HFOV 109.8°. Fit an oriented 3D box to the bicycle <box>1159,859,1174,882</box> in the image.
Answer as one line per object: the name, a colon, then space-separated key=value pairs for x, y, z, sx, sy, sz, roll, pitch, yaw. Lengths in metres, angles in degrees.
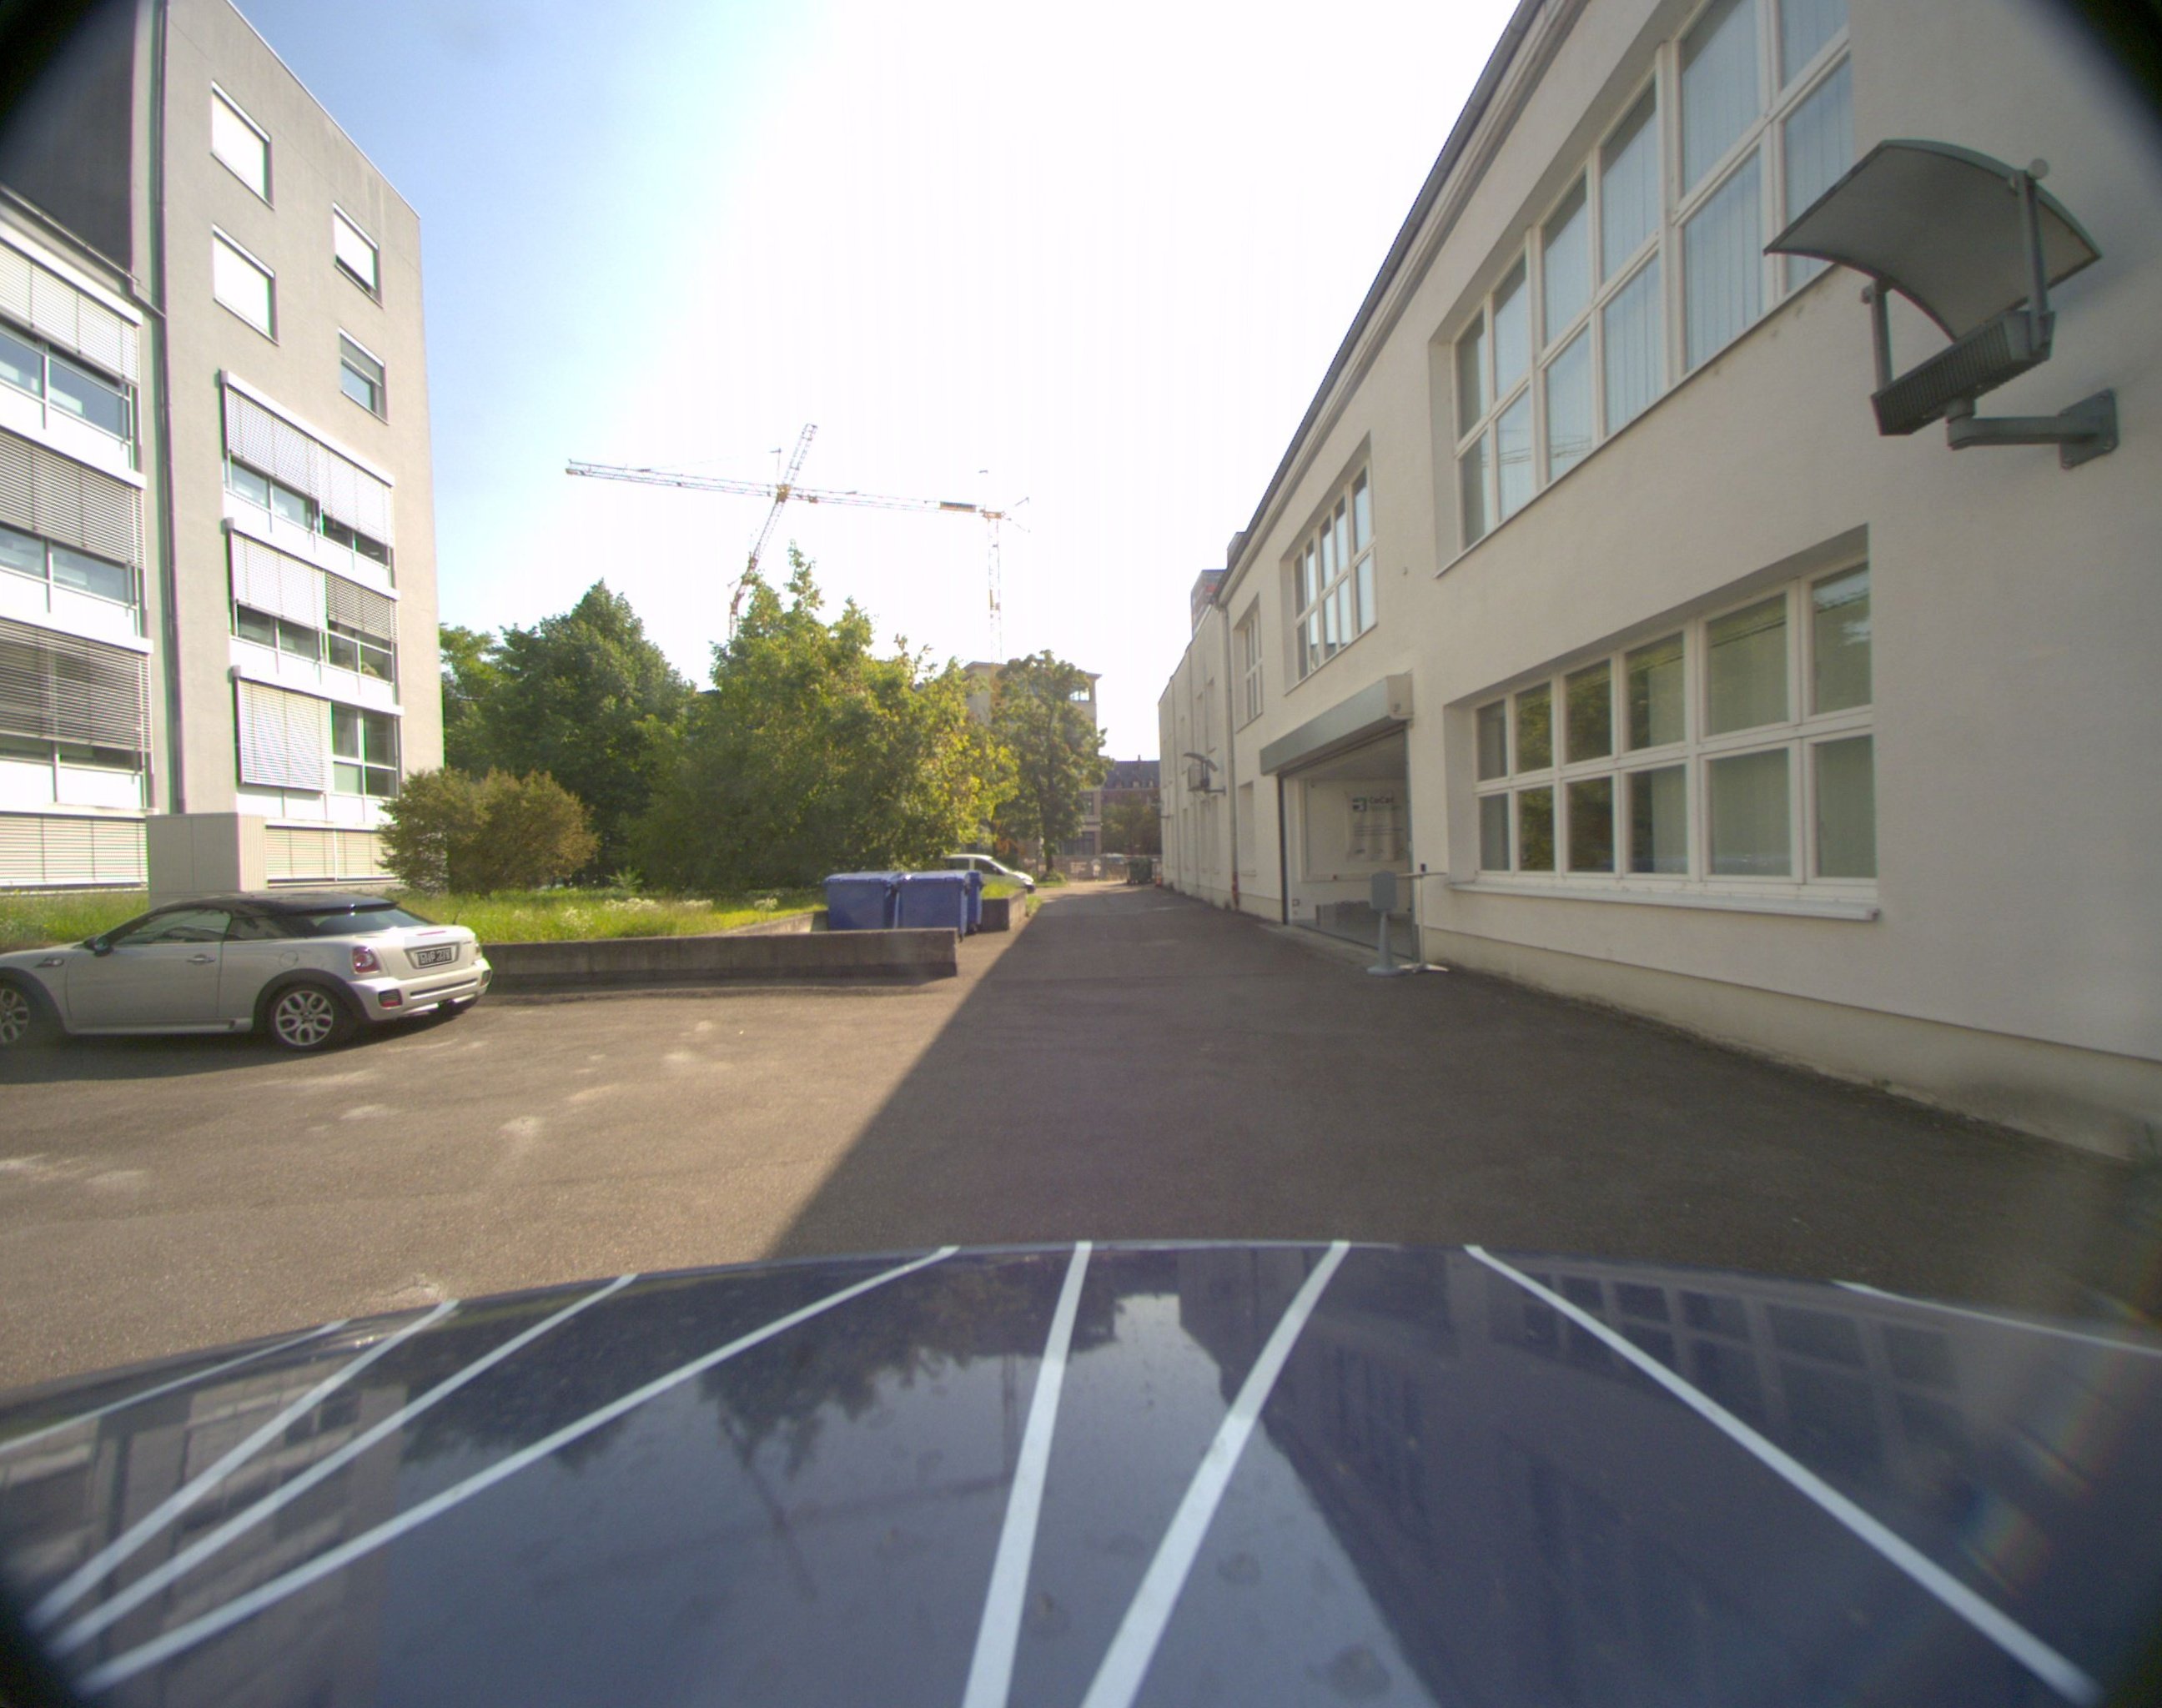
bicycle: x=4.741 y=0.922 z=42.235 sx=0.477 sy=1.206 sz=2.008 roll=-2 pitch=1 yaw=-2

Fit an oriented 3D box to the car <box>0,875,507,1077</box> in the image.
car: x=-8.039 y=1.062 z=7.293 sx=3.629 sy=1.536 sz=1.802 roll=2 pitch=1 yaw=-2

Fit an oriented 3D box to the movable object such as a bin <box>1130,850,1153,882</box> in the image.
movable object such as a bin: x=3.358 y=0.658 z=42.498 sx=1.183 sy=1.696 sz=1.395 roll=-2 pitch=1 yaw=4

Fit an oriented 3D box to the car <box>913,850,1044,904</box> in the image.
car: x=-4.129 y=0.921 z=31.258 sx=4.969 sy=1.910 sz=2.044 roll=-3 pitch=1 yaw=2

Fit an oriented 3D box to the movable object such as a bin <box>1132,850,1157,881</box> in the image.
movable object such as a bin: x=3.632 y=0.635 z=43.908 sx=1.184 sy=1.696 sz=1.376 roll=-2 pitch=1 yaw=-4

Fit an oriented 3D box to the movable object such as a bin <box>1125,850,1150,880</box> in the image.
movable object such as a bin: x=3.358 y=0.633 z=45.304 sx=1.184 sy=1.696 sz=1.376 roll=-2 pitch=1 yaw=-4

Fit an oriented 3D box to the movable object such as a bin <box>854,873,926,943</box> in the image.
movable object such as a bin: x=-3.961 y=1.105 z=15.864 sx=1.230 sy=1.333 sz=1.076 roll=-2 pitch=1 yaw=-5

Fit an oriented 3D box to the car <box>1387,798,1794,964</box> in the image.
car: x=7.487 y=0.372 z=11.563 sx=4.759 sy=2.080 sz=2.055 roll=-3 pitch=1 yaw=0

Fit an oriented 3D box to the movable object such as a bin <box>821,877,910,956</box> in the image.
movable object such as a bin: x=-3.987 y=1.131 z=14.146 sx=1.237 sy=1.333 sz=1.117 roll=-2 pitch=1 yaw=3

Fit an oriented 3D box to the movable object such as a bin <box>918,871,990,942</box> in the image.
movable object such as a bin: x=-2.627 y=1.070 z=15.860 sx=1.313 sy=1.333 sz=1.100 roll=-2 pitch=1 yaw=-3

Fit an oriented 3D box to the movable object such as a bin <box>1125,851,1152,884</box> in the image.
movable object such as a bin: x=3.050 y=0.685 z=40.696 sx=1.184 sy=1.696 sz=1.376 roll=-2 pitch=1 yaw=-4

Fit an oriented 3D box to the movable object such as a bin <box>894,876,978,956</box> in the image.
movable object such as a bin: x=-2.656 y=1.118 z=14.109 sx=1.303 sy=1.333 sz=1.194 roll=-2 pitch=1 yaw=-1
